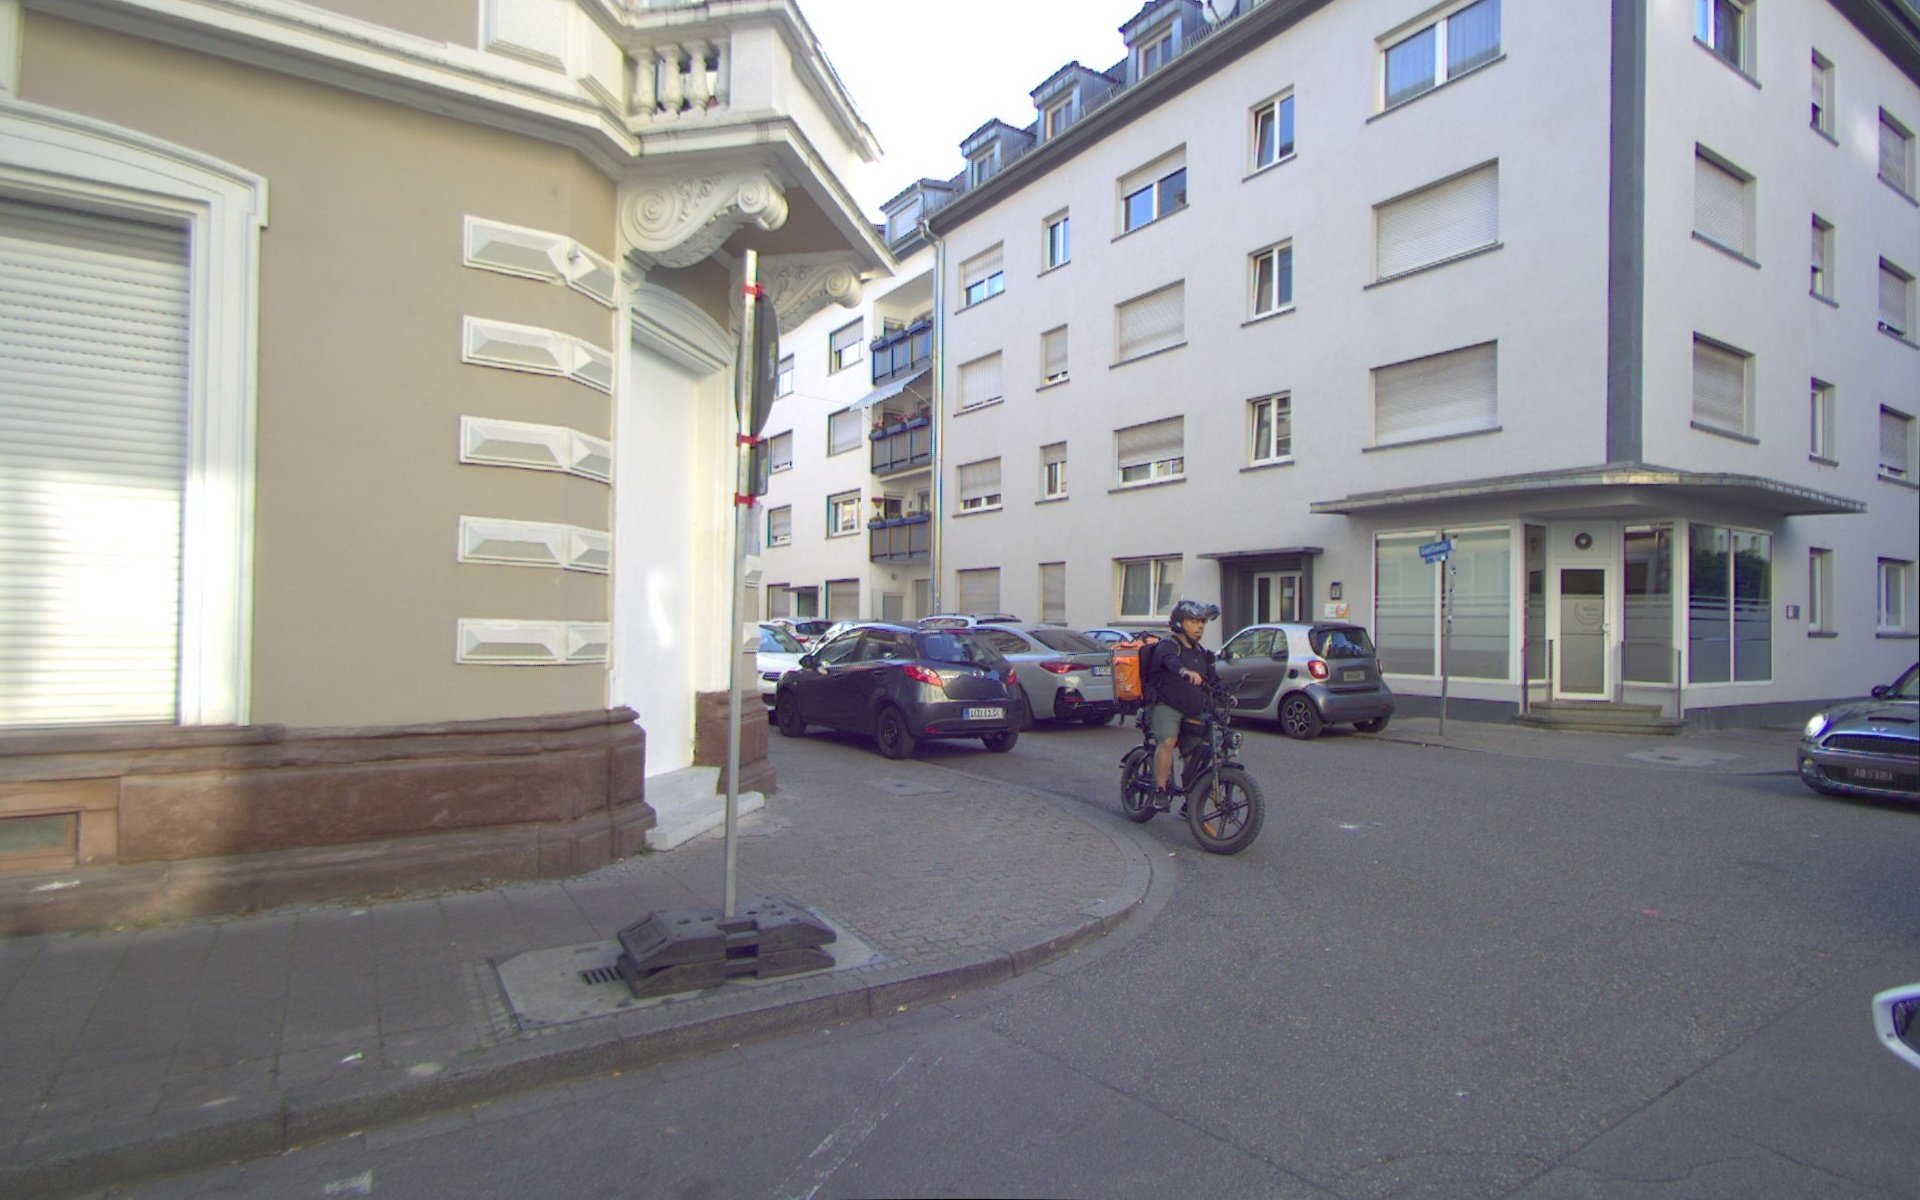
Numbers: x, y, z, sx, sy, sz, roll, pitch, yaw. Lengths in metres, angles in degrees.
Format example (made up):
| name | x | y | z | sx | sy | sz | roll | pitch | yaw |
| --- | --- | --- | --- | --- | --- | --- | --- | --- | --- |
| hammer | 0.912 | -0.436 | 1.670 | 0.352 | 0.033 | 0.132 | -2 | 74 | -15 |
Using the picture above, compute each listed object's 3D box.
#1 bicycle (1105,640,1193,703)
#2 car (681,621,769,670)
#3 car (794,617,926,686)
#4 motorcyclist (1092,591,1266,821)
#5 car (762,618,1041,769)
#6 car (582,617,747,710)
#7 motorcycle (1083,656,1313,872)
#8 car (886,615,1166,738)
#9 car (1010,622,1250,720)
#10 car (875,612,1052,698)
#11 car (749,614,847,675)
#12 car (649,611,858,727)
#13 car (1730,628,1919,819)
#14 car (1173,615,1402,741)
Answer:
| name | x | y | z | sx | sy | sz | roll | pitch | yaw |
| --- | --- | --- | --- | --- | --- | --- | --- | --- | --- |
| bicycle | 3.869 | 1.442 | 20.745 | 0.484 | 1.152 | 2.038 | 2 | 0 | -34 |
| car | -8.098 | 1.520 | 34.425 | 1.574 | 1.507 | 3.944 | 1 | -1 | -35 |
| car | -2.663 | 1.266 | 25.940 | 1.611 | 1.581 | 4.053 | 1 | -1 | -35 |
| motorcyclist | 1.634 | 0.733 | 7.605 | 0.862 | 1.589 | 0.993 | 0 | 1 | -25 |
| car | -0.830 | 0.997 | 12.168 | 1.672 | 1.499 | 3.551 | 2 | -1 | -37 |
| car | -5.965 | 1.171 | 19.947 | 1.989 | 1.581 | 4.054 | 2 | -1 | -34 |
| motorcycle | 1.694 | 1.113 | 7.435 | 0.796 | 1.266 | 1.688 | 0 | 1 | -24 |
| car | 0.786 | 1.014 | 15.107 | 1.977 | 1.506 | 4.626 | 1 | -1 | -30 |
| car | 2.915 | 1.177 | 18.106 | 1.947 | 1.472 | 4.226 | 1 | -1 | -32 |
| car | -0.017 | 1.134 | 22.064 | 1.979 | 1.675 | 4.055 | 1 | -1 | -34 |
| car | -4.850 | 1.276 | 29.768 | 1.640 | 1.666 | 3.576 | 1 | -1 | -32 |
| car | -3.418 | 0.987 | 16.069 | 1.817 | 1.581 | 4.053 | 1 | -1 | -35 |
| car | 9.482 | 1.053 | 9.108 | 3.933 | 1.506 | 1.994 | 1 | -1 | -15 |
| car | 4.635 | 1.031 | 14.471 | 1.630 | 1.586 | 2.740 | 1 | -1 | -32 |
